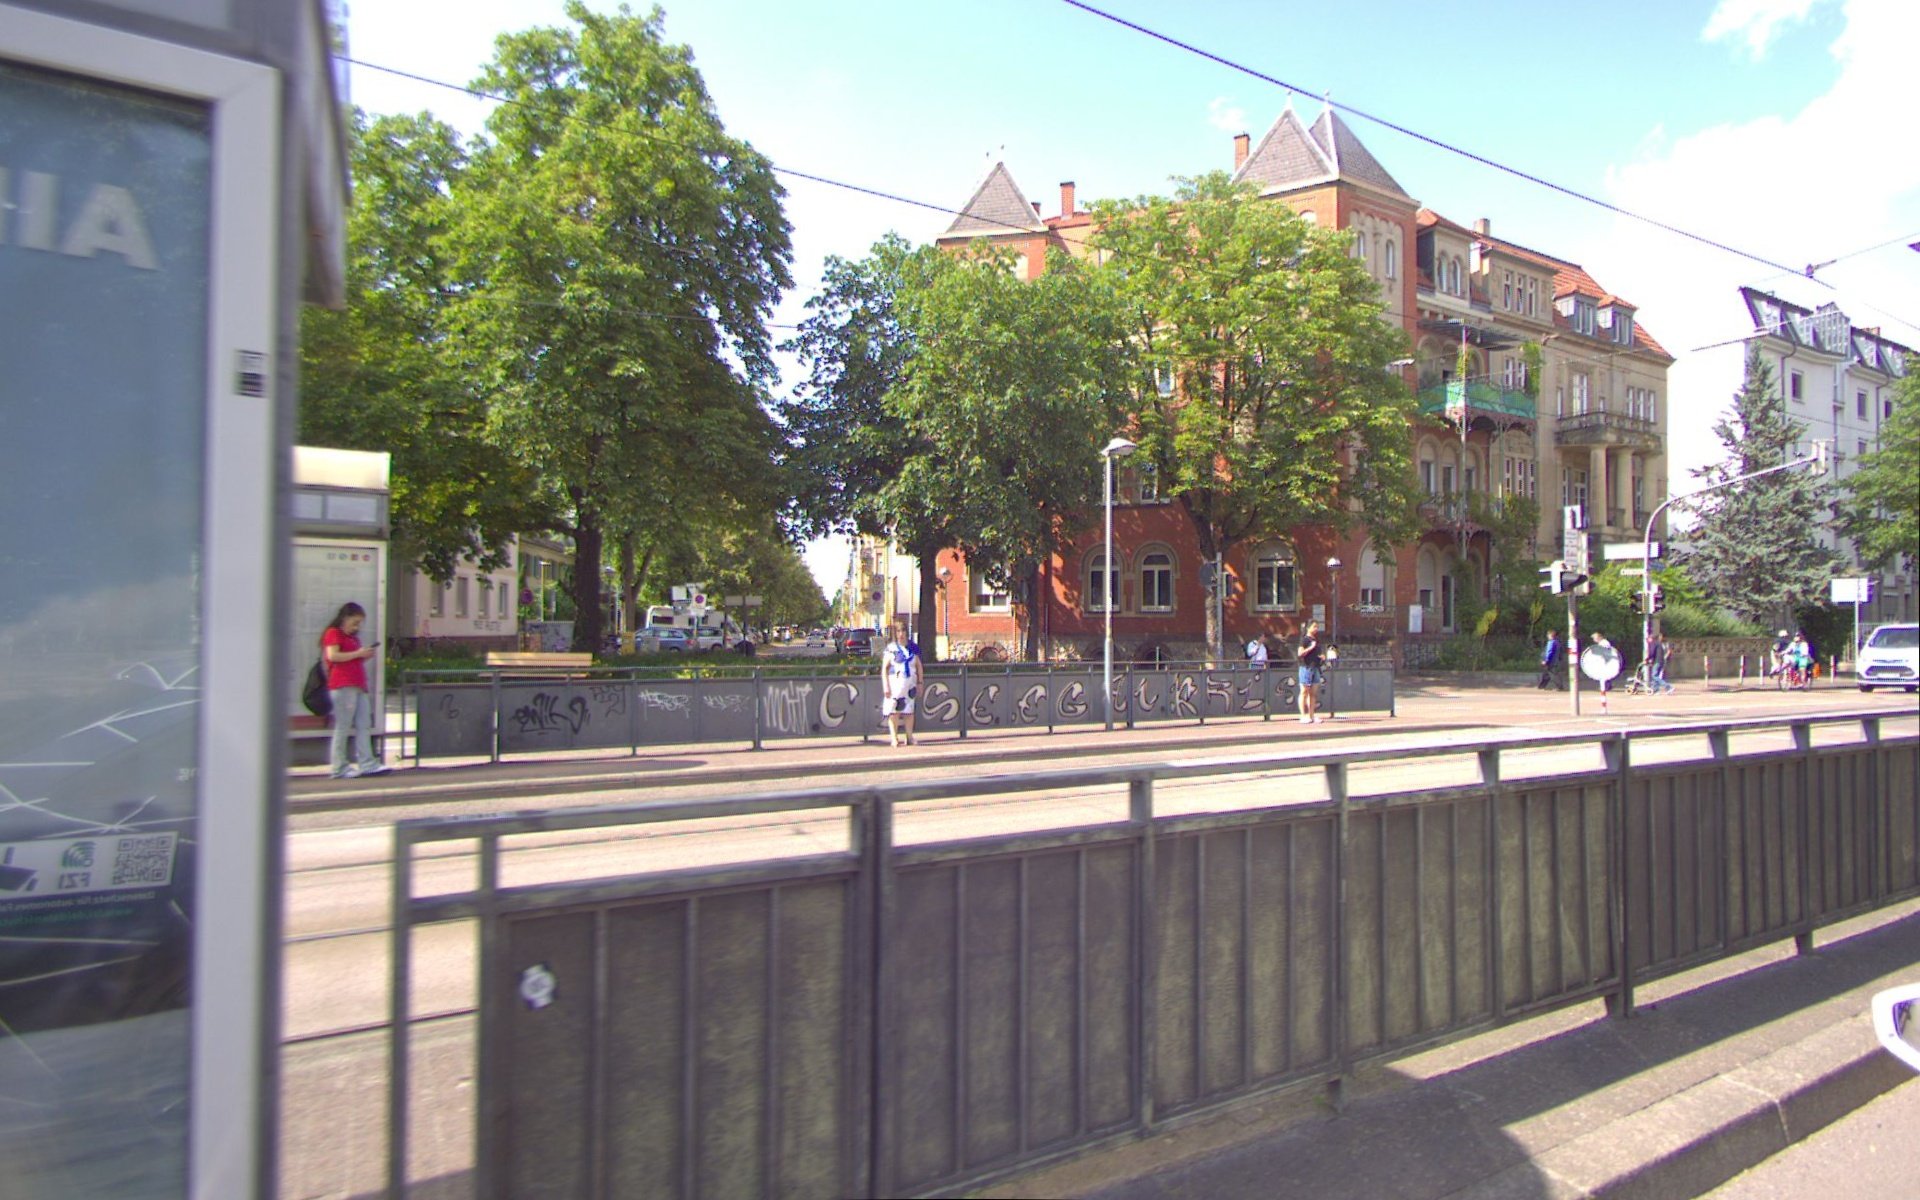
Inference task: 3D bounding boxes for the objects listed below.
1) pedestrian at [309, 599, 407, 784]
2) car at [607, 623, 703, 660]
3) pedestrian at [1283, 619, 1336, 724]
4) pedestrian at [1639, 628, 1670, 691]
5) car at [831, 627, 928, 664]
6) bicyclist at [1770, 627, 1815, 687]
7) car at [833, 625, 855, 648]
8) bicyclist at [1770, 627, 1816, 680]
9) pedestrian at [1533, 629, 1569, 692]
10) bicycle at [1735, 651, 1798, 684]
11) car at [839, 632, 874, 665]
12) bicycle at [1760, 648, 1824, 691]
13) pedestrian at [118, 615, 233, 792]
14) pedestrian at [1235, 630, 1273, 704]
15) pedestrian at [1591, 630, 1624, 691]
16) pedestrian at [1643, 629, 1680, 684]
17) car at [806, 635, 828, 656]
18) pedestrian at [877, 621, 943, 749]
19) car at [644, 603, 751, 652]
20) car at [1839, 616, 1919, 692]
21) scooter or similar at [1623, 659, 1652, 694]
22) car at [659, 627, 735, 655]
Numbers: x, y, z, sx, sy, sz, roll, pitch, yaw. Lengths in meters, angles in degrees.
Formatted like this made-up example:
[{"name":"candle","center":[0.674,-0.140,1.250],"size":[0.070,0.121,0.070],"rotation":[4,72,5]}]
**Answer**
[{"name":"pedestrian","center":[-5.681,0.842,9.506],"size":[0.737,1.679,0.470],"rotation":[2,0,-30]},{"name":"car","center":[-14.545,1.975,48.109],"size":[4.243,1.697,1.995],"rotation":[1,-2,-13]},{"name":"pedestrian","center":[5.398,1.086,15.501],"size":[0.510,1.562,0.534],"rotation":[-1,-1,-30]},{"name":"pedestrian","center":[18.951,1.621,27.405],"size":[0.747,1.679,0.515],"rotation":[2,0,-43]},{"name":"car","center":[-3.669,2.069,45.878],"size":[3.953,1.572,1.984],"rotation":[2,0,-30]},{"name":"bicyclist","center":[24.766,1.679,29.882],"size":[0.665,1.718,0.833],"rotation":[2,0,-31]},{"name":"car","center":[-10.965,3.459,94.867],"size":[1.962,1.974,3.996],"rotation":[2,0,-6]},{"name":"bicyclist","center":[26.931,1.725,32.491],"size":[0.694,1.666,0.945],"rotation":[2,0,-31]},{"name":"pedestrian","center":[16.808,1.711,28.569],"size":[0.843,1.721,0.617],"rotation":[2,0,-42]},{"name":"bicycle","center":[26.081,2.168,32.479],"size":[1.839,0.945,0.993],"rotation":[1,2,-31]},{"name":"car","center":[-6.087,2.839,59.304],"size":[1.962,1.728,3.996],"rotation":[2,0,-6]},{"name":"bicycle","center":[24.796,2.059,29.919],"size":[1.932,1.175,0.841],"rotation":[2,0,-30]},{"name":"pedestrian","center":[-6.864,0.894,8.820],"size":[0.684,1.475,0.526],"rotation":[2,-4,-31]},{"name":"pedestrian","center":[7.080,1.605,24.201],"size":[0.843,1.721,0.460],"rotation":[2,0,-42]},{"name":"pedestrian","center":[18.507,1.708,28.714],"size":[0.721,1.679,0.605],"rotation":[0,1,-43]},{"name":"pedestrian","center":[22.078,1.777,31.610],"size":[0.802,1.679,0.520],"rotation":[2,0,-10]},{"name":"car","center":[-14.438,4.561,101.650],"size":[1.962,1.907,3.996],"rotation":[2,0,-6]},{"name":"pedestrian","center":[-0.614,1.029,12.308],"size":[0.695,1.523,0.426],"rotation":[2,-4,-30]},{"name":"car","center":[-17.789,1.896,68.403],"size":[6.739,3.291,2.171],"rotation":[1,-2,-8]},{"name":"car","center":[27.957,1.561,29.187],"size":[5.025,2.021,1.985],"rotation":[2,0,-28]},{"name":"scooter or similar","center":[18.655,2.097,27.653],"size":[0.496,0.934,0.542],"rotation":[2,0,-43]},{"name":"car","center":[-16.039,2.512,61.469],"size":[4.237,1.697,1.998],"rotation":[1,-2,-8]}]
